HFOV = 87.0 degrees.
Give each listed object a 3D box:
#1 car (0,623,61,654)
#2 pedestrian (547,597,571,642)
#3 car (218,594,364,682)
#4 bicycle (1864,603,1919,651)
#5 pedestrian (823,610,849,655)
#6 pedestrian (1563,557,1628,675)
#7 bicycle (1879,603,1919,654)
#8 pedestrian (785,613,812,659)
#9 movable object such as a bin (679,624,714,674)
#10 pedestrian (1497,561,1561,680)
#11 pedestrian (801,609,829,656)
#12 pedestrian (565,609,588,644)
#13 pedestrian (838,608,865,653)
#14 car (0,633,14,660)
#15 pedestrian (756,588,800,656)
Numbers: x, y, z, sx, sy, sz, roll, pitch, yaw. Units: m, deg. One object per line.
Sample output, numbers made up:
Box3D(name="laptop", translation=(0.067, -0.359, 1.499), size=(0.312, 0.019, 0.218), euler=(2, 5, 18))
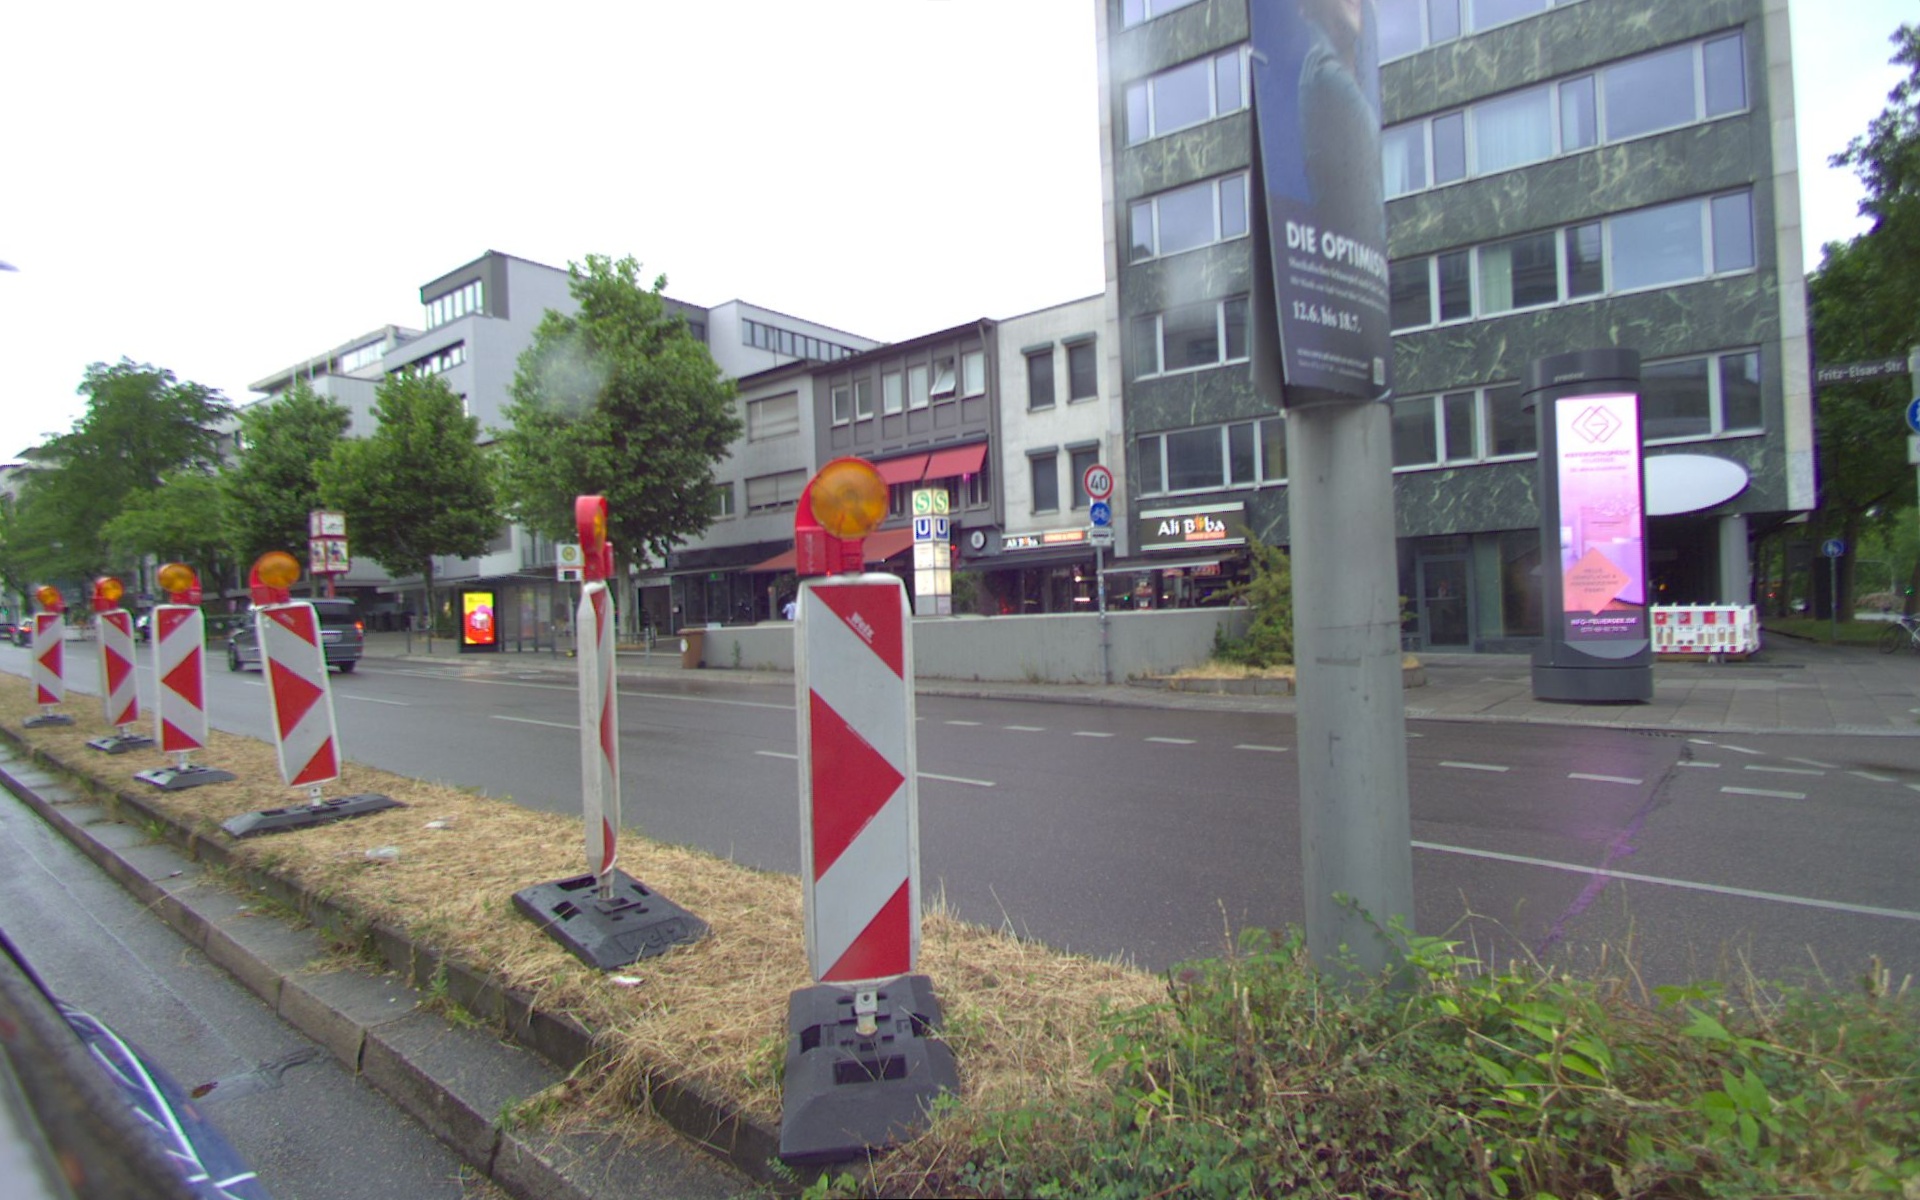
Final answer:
Box3D(name="car", translation=(-48.099, 1.988, 52.323), size=(4.284, 1.522, 1.672), euler=(-2, -1, 37))
Box3D(name="pedestrian", translation=(-18.251, 0.880, 46.079), size=(0.764, 2.029, 0.768), euler=(-1, 0, -41))
Box3D(name="car", translation=(-17.330, 0.876, 26.129), size=(4.964, 1.941, 1.972), euler=(2, 2, 42))
Box3D(name="bicycle", translation=(21.256, 0.592, 22.392), size=(1.780, 1.060, 0.579), euler=(-1, -1, 37))
Box3D(name="pedestrian", translation=(-4.330, 1.127, 35.437), size=(0.611, 1.540, 0.660), euler=(-2, -1, 44))
Box3D(name="pedestrian", translation=(11.213, 0.271, 17.868), size=(0.588, 2.029, 0.730), euler=(0, -1, -29))
Box3D(name="bicycle", translation=(20.760, 0.598, 21.484), size=(1.780, 1.060, 0.579), euler=(-1, -1, 37))
Box3D(name="pedestrian", translation=(-5.493, 1.214, 34.361), size=(0.611, 1.540, 0.660), euler=(-2, -1, 44))
Box3D(name="movable object such as a bin", translation=(-6.108, 1.130, 23.456), size=(0.660, 1.109, 0.501), euler=(-1, 0, 39))
Box3D(name="pedestrian", translation=(9.989, 0.352, 17.775), size=(0.588, 2.029, 0.730), euler=(0, -1, -29))
Box3D(name="pedestrian", translation=(-4.812, 1.084, 33.659), size=(0.611, 1.540, 0.660), euler=(-2, -1, 44))
Box3D(name="pedestrian", translation=(-17.765, 1.227, 46.910), size=(0.764, 1.577, 0.768), euler=(-1, 0, -41))
Box3D(name="pedestrian", translation=(-3.760, 1.041, 35.022), size=(0.611, 1.540, 0.660), euler=(-2, -1, 44))
Box3D(name="car", translation=(-67.339, 3.273, 70.518), size=(4.211, 1.442, 1.670), euler=(-11, -7, 40))
Box3D(name="pedestrian", translation=(-5.496, 0.653, 30.529), size=(0.943, 2.029, 0.910), euler=(-1, 0, 41))
